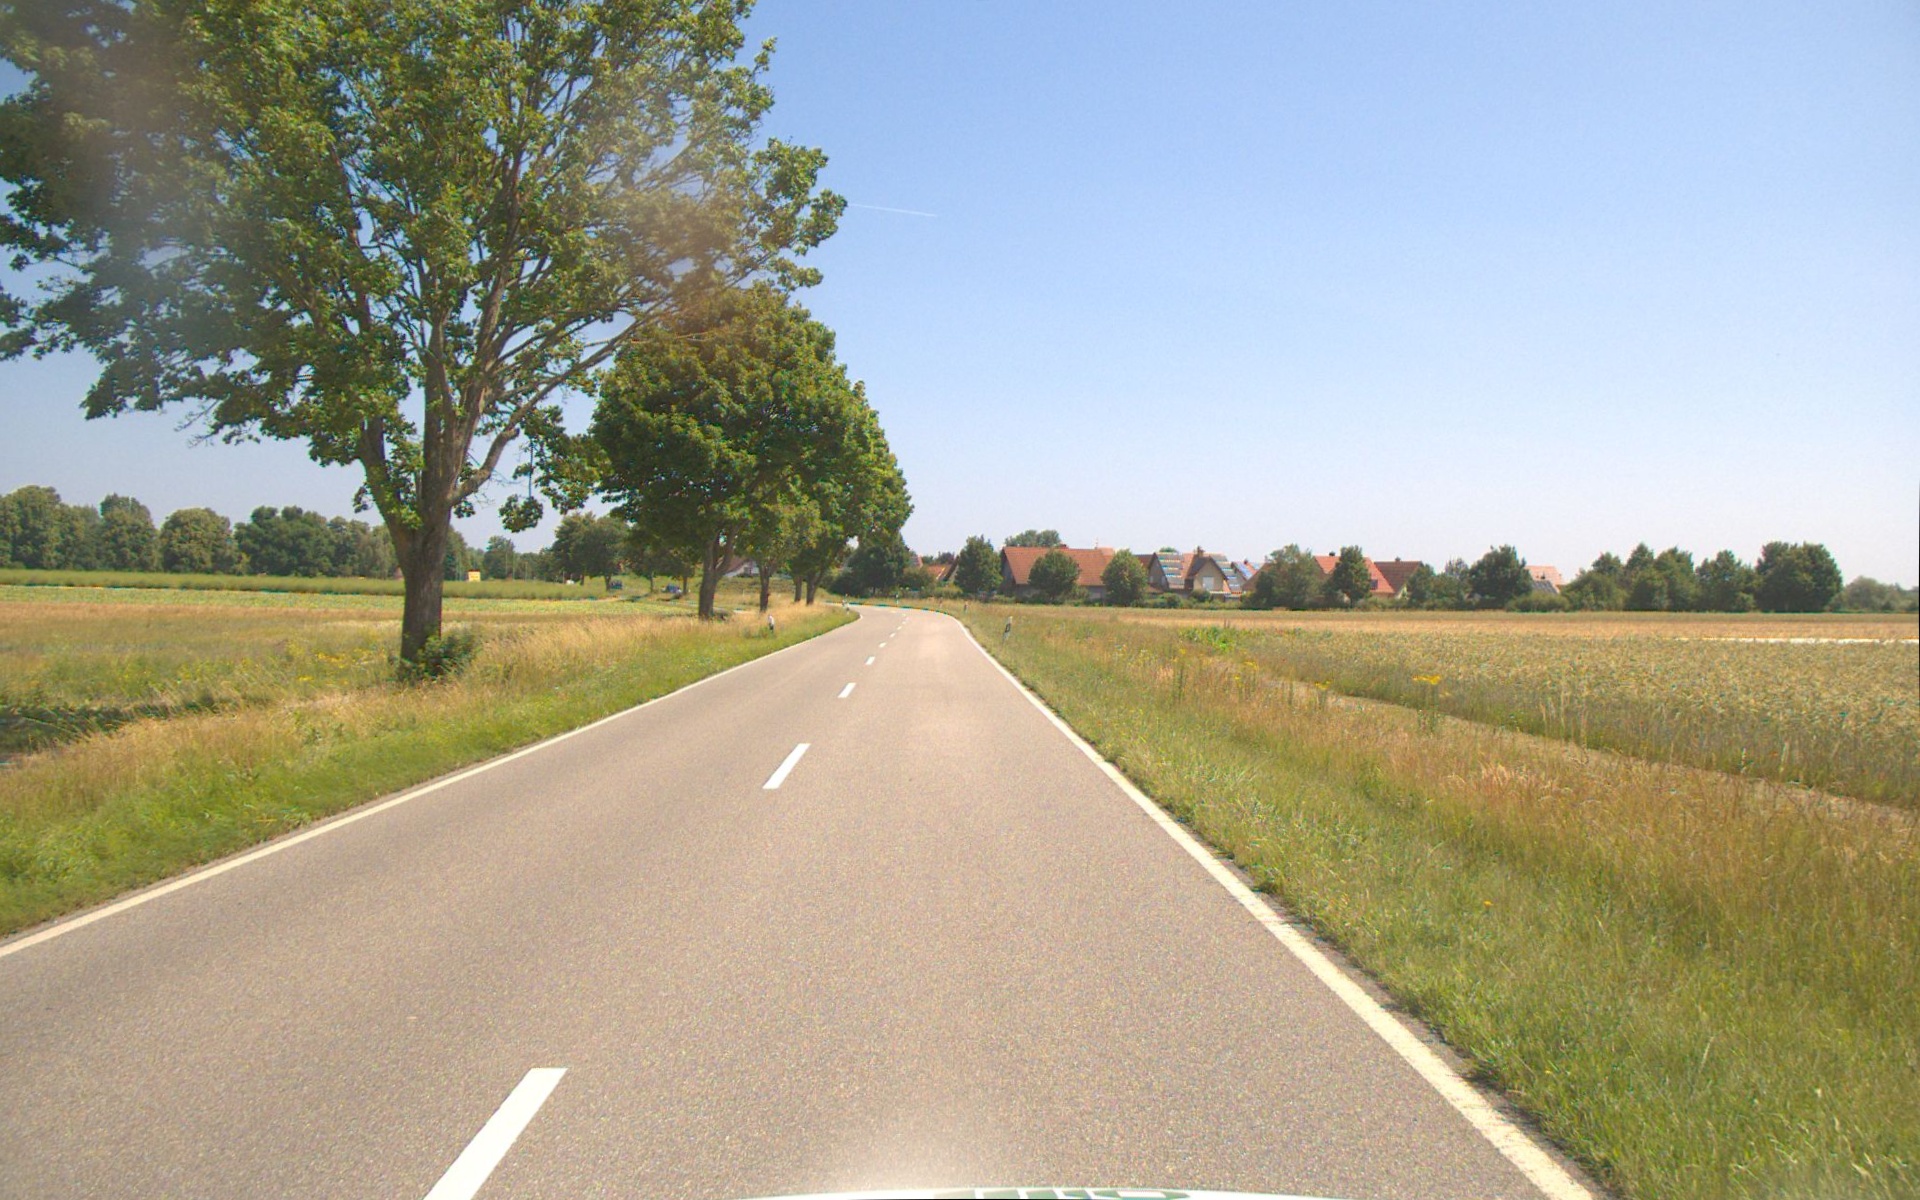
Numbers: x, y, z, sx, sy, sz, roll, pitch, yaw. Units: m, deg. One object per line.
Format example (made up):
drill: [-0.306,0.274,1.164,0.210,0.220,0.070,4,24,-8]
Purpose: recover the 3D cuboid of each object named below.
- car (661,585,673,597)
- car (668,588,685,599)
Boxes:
car: [-42.276,-1.272,238.827,1.568,1.698,3.405,3,0,-12]
car: [-40.045,-0.872,233.287,1.620,1.454,4.155,-2,1,-20]
